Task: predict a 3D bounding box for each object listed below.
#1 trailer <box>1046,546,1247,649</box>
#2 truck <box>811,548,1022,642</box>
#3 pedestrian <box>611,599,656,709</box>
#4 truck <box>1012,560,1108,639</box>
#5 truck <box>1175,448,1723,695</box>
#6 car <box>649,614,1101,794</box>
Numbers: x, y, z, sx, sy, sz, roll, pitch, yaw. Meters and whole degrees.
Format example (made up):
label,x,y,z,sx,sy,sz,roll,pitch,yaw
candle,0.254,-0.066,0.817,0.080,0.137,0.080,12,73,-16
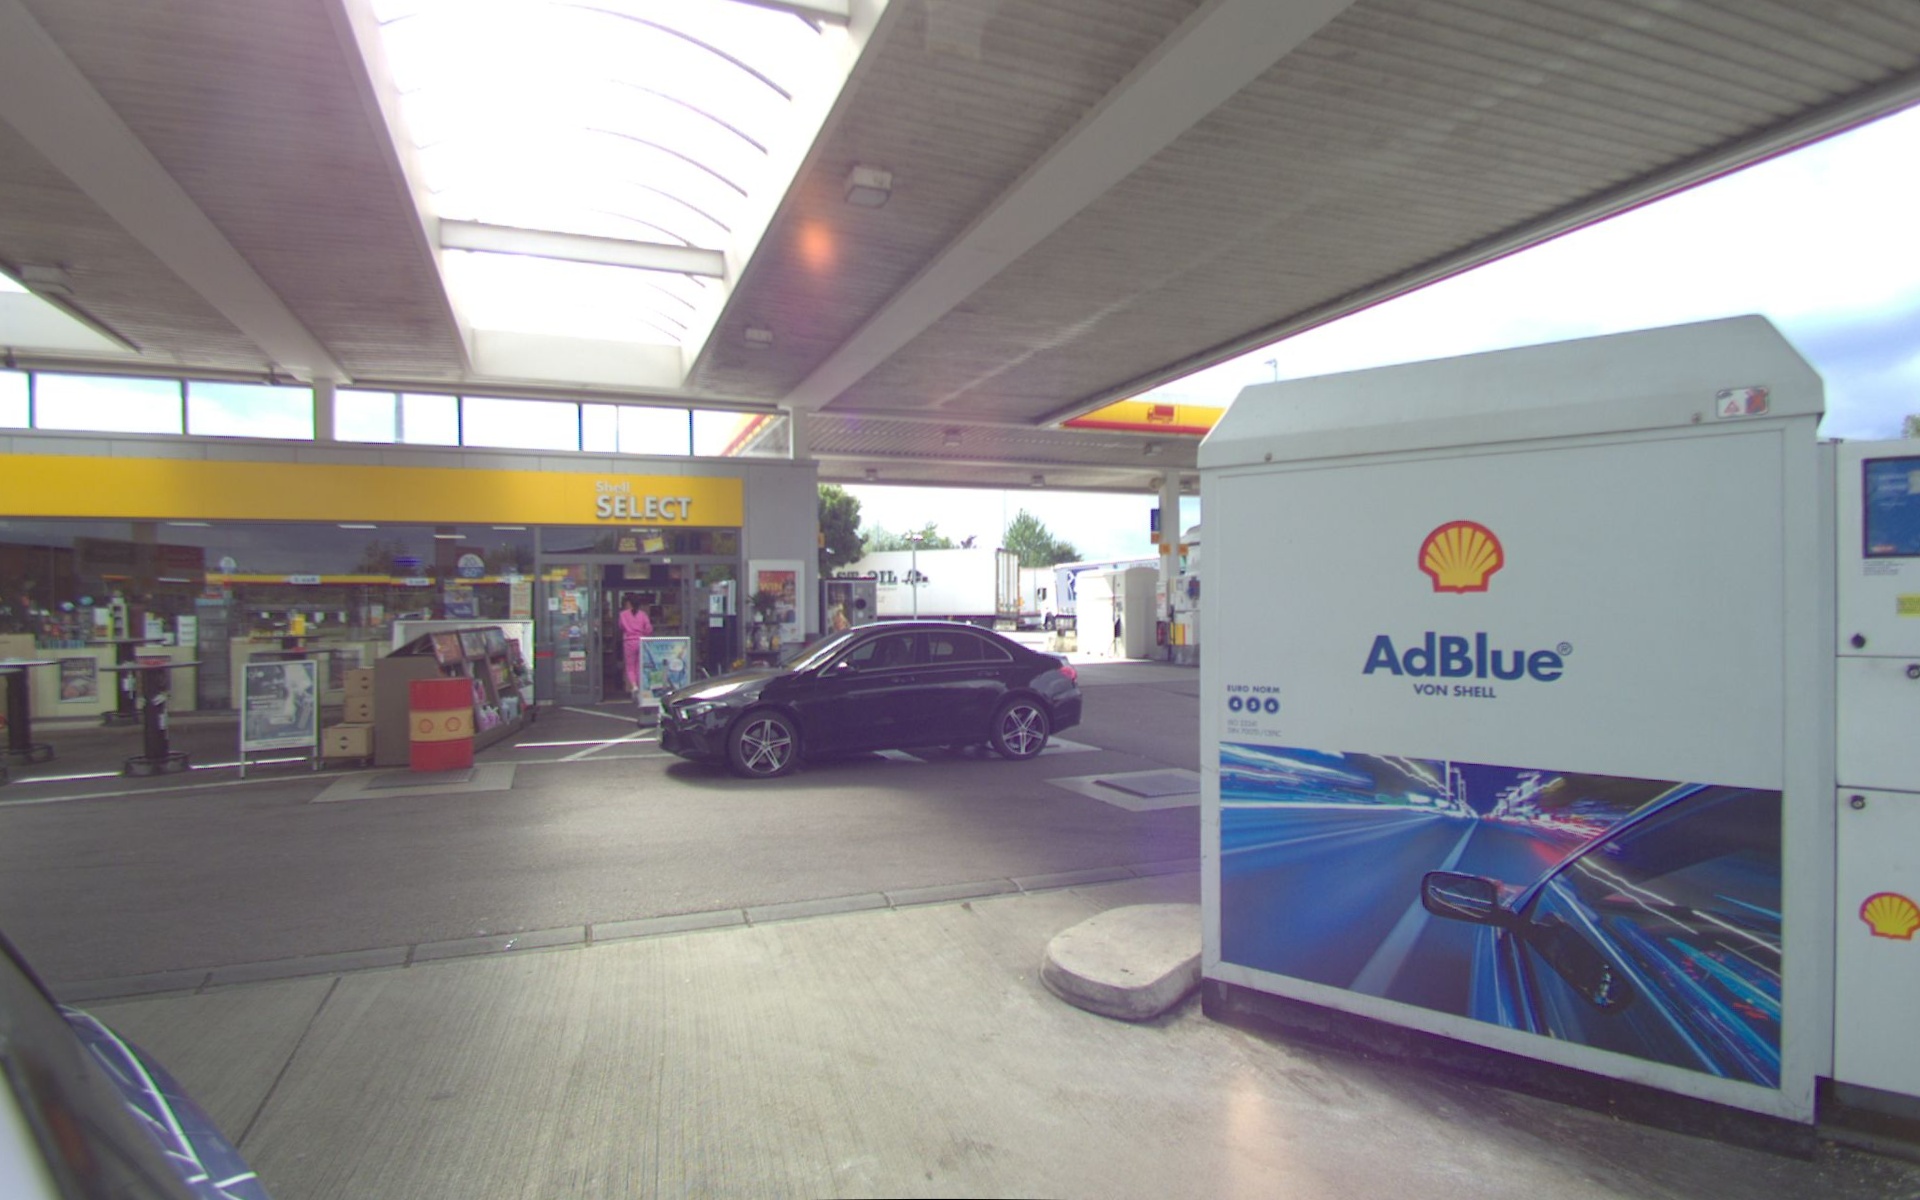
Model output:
label,x,y,z,sx,sy,sz,roll,pitch,yaw
trailer,9.104,-0.090,52.678,3.294,4.600,14.397,-1,0,-20
truck,-2.104,-0.175,46.844,9.536,4.036,2.772,-1,0,25
pedestrian,-5.266,0.847,16.311,0.616,1.726,0.625,-1,0,-24
truck,5.926,-0.040,61.226,3.333,4.538,6.249,-1,0,-20
truck,9.656,-0.458,23.106,2.491,4.069,12.947,-1,0,-22
car,-0.905,0.945,10.652,4.394,1.511,1.785,-1,0,-21
